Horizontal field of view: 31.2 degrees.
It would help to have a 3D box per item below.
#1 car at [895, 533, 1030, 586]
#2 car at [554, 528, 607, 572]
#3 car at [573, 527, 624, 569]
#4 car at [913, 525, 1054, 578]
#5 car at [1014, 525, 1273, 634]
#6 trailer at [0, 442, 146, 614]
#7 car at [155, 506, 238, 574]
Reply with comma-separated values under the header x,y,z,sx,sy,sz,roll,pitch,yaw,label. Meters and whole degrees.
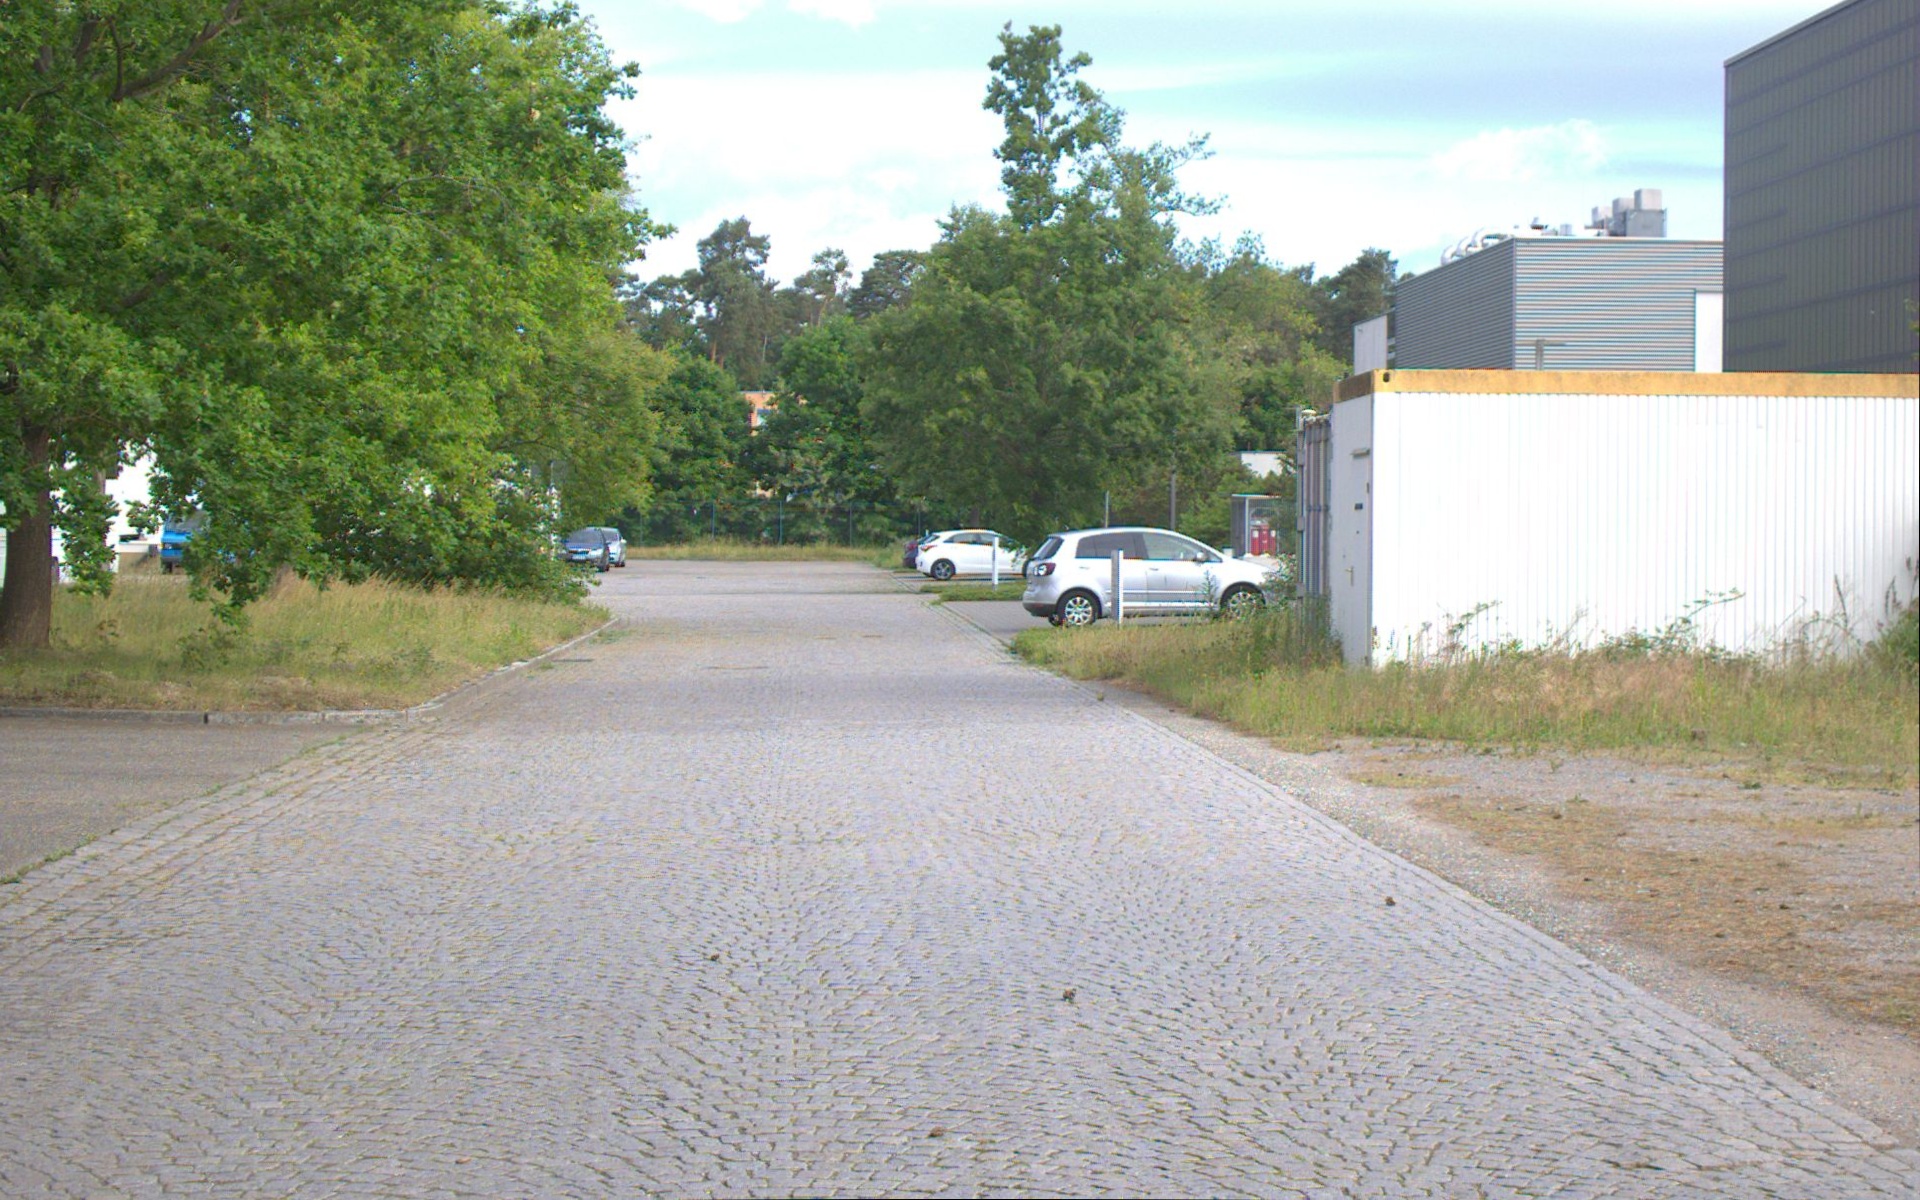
x,y,z,sx,sy,sz,roll,pitch,yaw,label
0.054,-1.252,105.598,3.986,1.596,1.729,0,1,-5,car
-13.059,-1.741,118.527,1.734,1.464,4.046,0,1,-5,car
-13.432,-1.940,127.877,1.803,1.529,4.001,0,1,-5,car
0.669,-1.427,100.060,4.025,1.496,1.548,1,1,-2,car
2.855,-0.335,53.964,3.849,1.649,1.686,0,1,-5,car
-18.115,-1.396,65.705,3.158,3.057,8.785,1,1,-1,trailer
-23.517,-1.861,106.031,1.925,2.040,4.601,0,1,-5,car
